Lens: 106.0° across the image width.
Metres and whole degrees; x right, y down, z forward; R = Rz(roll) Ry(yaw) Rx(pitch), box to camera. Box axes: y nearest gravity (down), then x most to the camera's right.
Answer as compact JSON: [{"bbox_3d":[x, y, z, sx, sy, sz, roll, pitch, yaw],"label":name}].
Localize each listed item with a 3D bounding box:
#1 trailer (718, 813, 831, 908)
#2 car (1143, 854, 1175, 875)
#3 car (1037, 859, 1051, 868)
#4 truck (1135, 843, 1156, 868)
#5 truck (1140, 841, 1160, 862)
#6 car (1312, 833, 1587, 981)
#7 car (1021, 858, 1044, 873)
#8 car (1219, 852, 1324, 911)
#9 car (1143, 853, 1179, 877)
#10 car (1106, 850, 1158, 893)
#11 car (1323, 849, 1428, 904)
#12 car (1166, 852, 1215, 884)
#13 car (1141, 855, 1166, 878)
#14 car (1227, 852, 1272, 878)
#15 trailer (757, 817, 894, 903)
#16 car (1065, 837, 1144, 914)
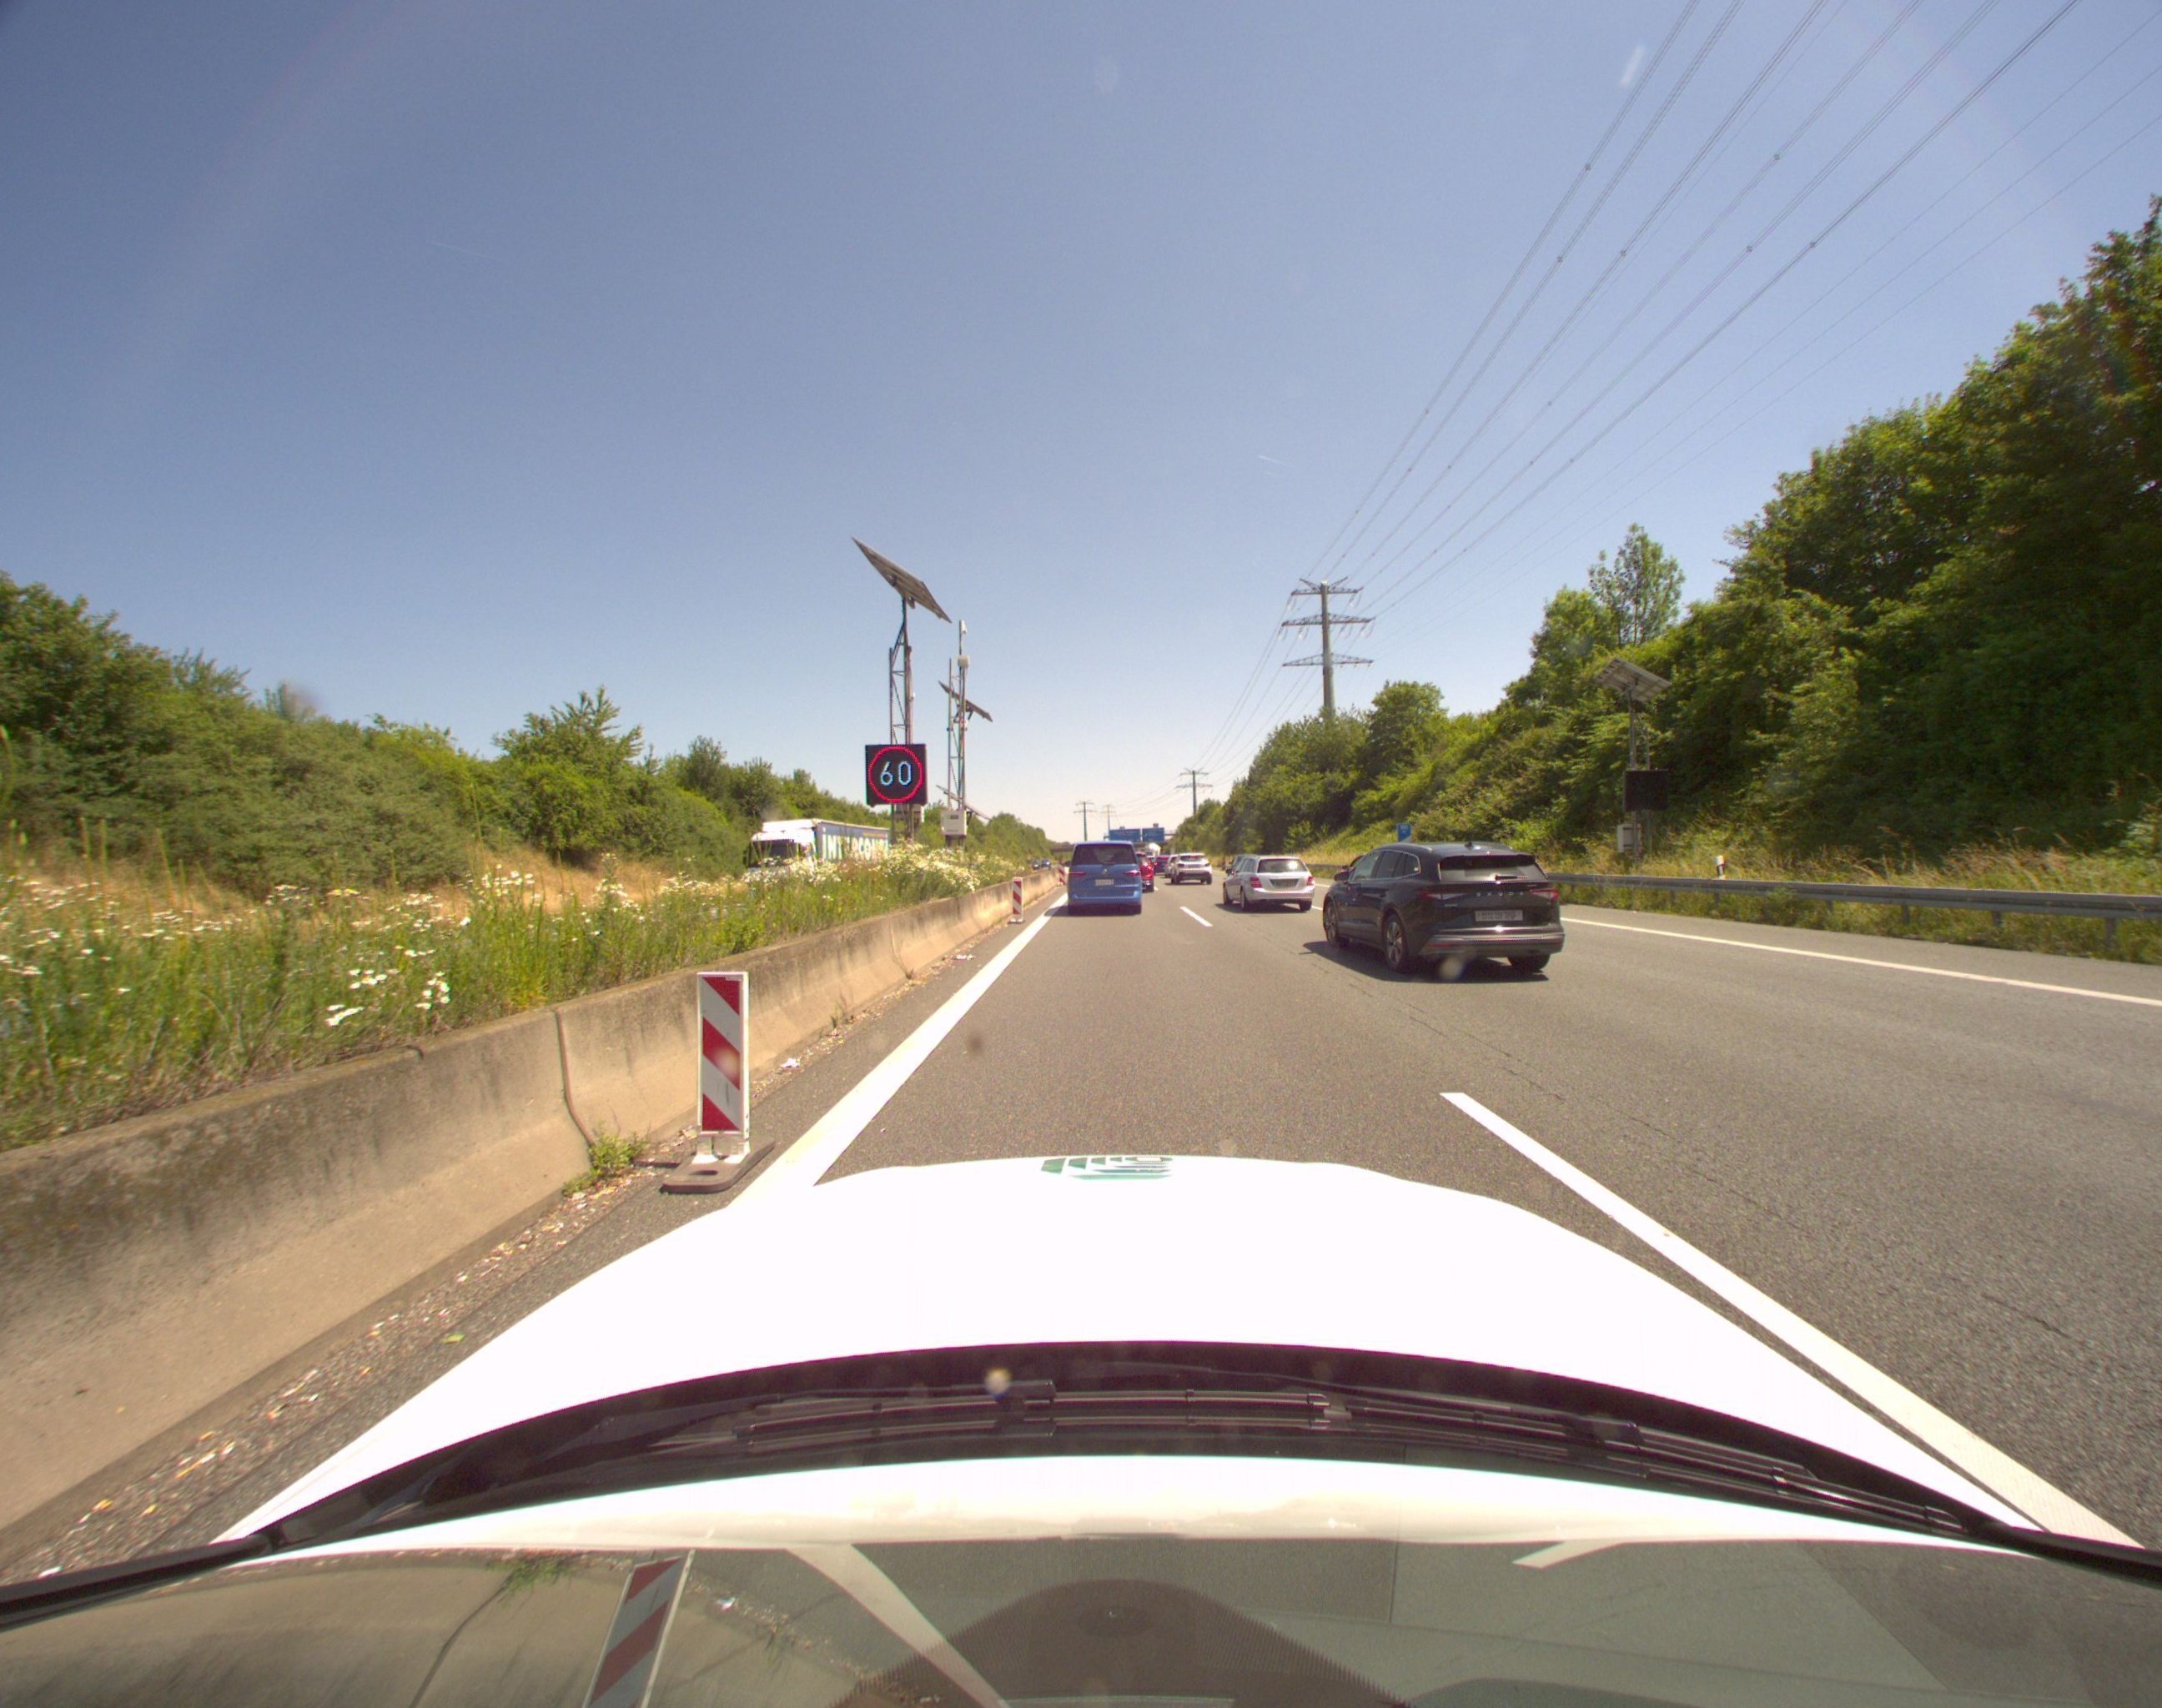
[{"bbox_3d":[-14.385,0.287,38.714,2.950,4.057,5.436,-3,0,2],"label":"trailer"},{"bbox_3d":[5.705,0.741,59.974,1.902,1.516,4.382,0,0,0],"label":"car"},{"bbox_3d":[-6.442,1.621,143.435,1.986,1.546,4.914,-2,0,2],"label":"car"},{"bbox_3d":[7.158,0.141,90.948,1.987,2.723,5.680,0,0,1],"label":"truck"},{"bbox_3d":[13.548,-0.450,160.782,2.635,4.072,16.441,0,0,1],"label":"truck"},{"bbox_3d":[4.701,0.590,11.210,1.822,1.614,4.431,-1,0,1],"label":"car"},{"bbox_3d":[-5.187,1.212,87.917,1.986,1.546,4.914,-2,0,2],"label":"car"},{"bbox_3d":[5.031,0.676,22.128,1.815,1.437,4.382,0,0,0],"label":"car"},{"bbox_3d":[5.158,0.681,52.840,1.902,1.516,4.382,0,0,0],"label":"car"},{"bbox_3d":[2.046,0.665,33.711,1.902,1.631,4.383,-1,0,0],"label":"car"},{"bbox_3d":[8.596,0.612,24.118,1.734,1.470,4.015,-1,0,1],"label":"car"},{"bbox_3d":[5.444,0.655,40.865,1.902,1.508,3.920,0,0,0],"label":"car"},{"bbox_3d":[6.533,1.098,73.418,1.986,2.013,4.001,0,0,1],"label":"car"},{"bbox_3d":[9.709,0.611,47.157,1.729,1.378,4.301,0,0,0],"label":"car"},{"bbox_3d":[-14.113,0.291,46.821,2.950,4.057,13.601,-3,0,2],"label":"trailer"},{"bbox_3d":[0.534,0.531,22.092,1.866,1.879,4.380,0,0,-2],"label":"car"}]
